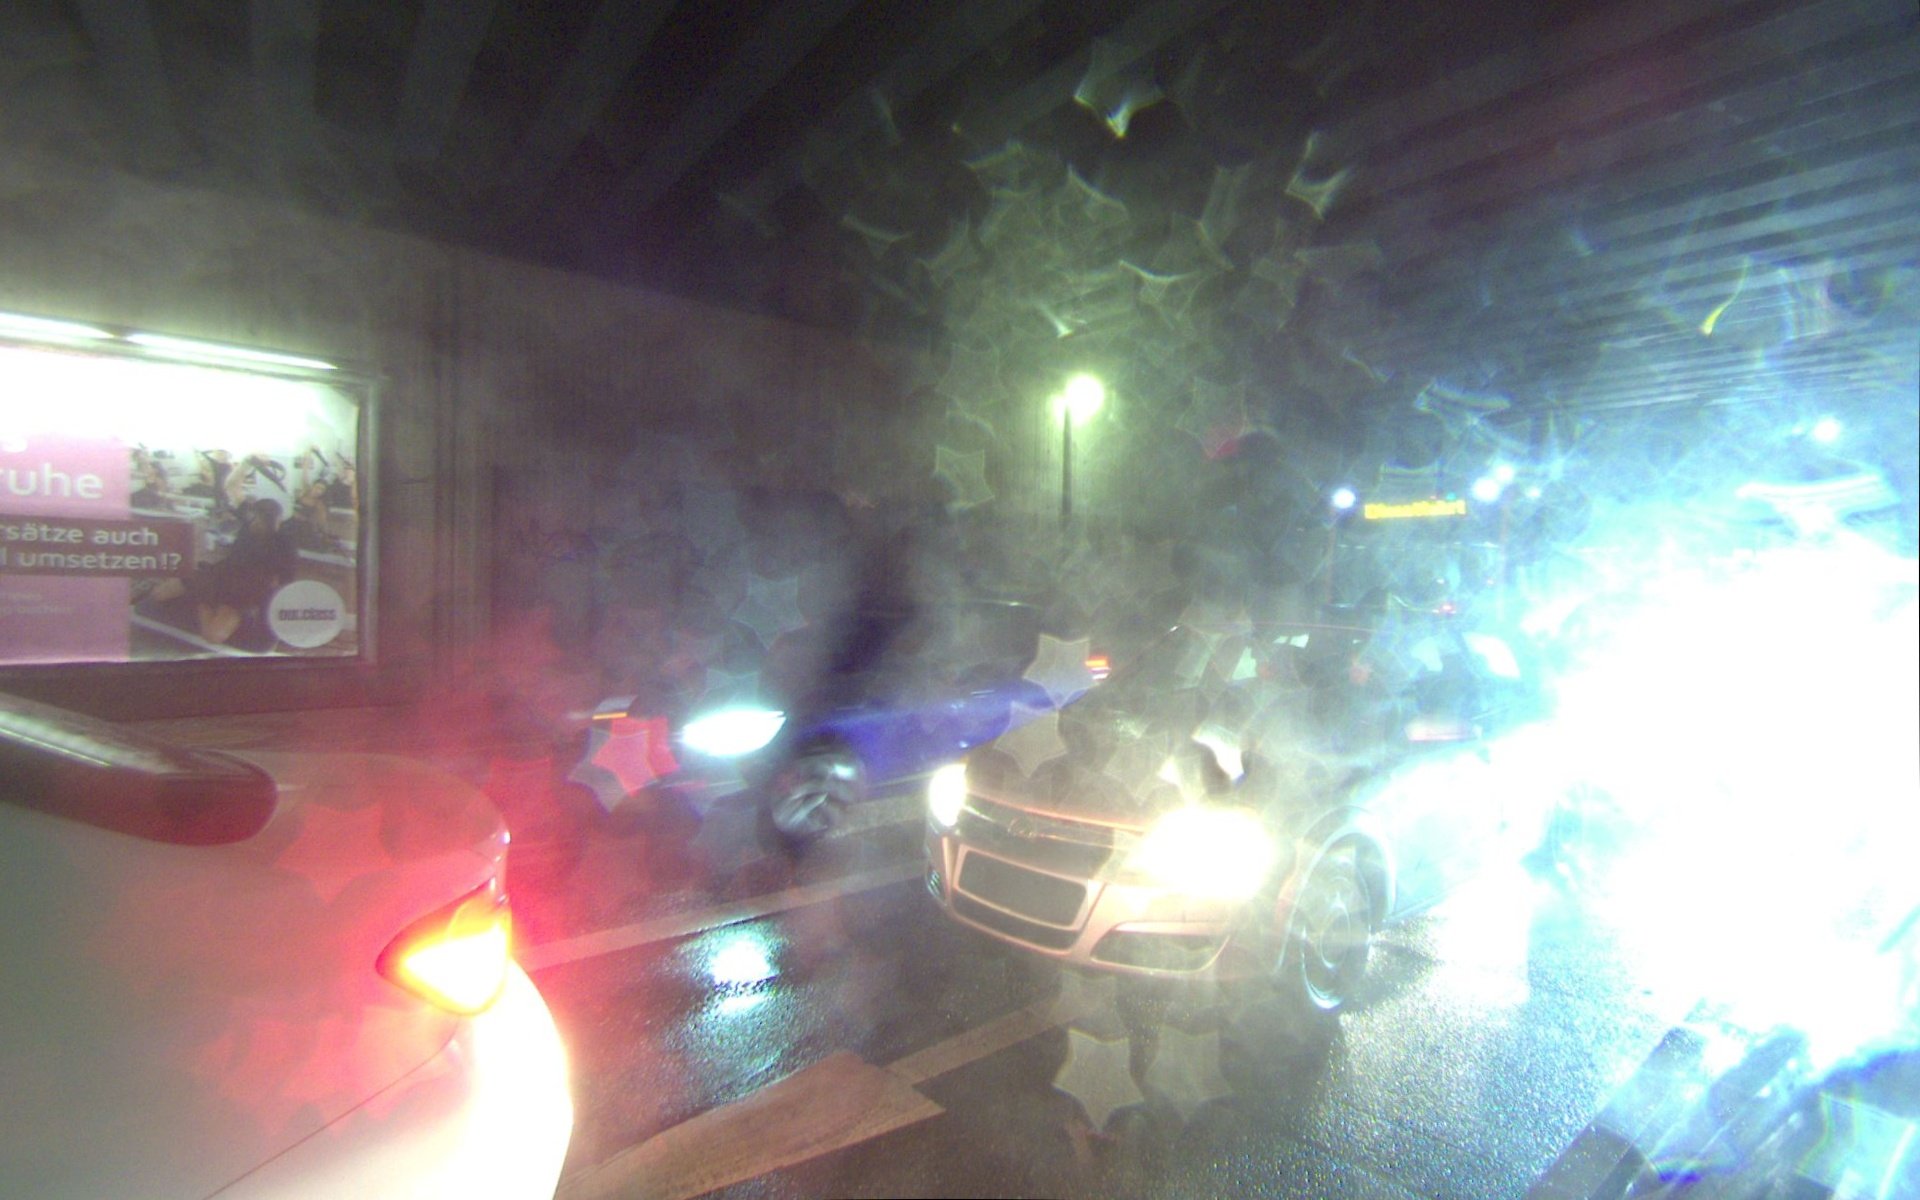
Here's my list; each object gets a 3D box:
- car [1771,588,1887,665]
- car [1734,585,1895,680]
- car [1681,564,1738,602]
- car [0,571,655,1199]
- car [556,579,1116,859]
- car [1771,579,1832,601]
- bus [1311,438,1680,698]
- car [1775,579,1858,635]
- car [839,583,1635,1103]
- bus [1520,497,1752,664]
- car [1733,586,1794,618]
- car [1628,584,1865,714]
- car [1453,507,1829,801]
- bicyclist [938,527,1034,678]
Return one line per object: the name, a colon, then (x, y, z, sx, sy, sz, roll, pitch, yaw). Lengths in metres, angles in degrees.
car: (18.741, 0.499, 21.774, 1.678, 1.490, 3.937, 0, 0, 44)
car: (15.370, 0.497, 18.144, 3.930, 1.522, 1.628, -1, 0, -41)
car: (31.954, -0.697, 43.103, 1.844, 1.503, 4.566, 2, 1, 38)
car: (-2.683, 0.688, 0.967, 4.273, 1.422, 1.719, -1, 0, -41)
car: (-0.687, 0.587, 7.200, 1.750, 1.449, 3.700, 1, 1, 44)
car: (63.333, -0.775, 76.250, 1.970, 1.626, 3.983, 0, 0, 14)
bus: (9.295, -0.388, 16.717, 2.770, 3.163, 9.604, 0, 0, 45)
car: (26.370, 0.181, 31.132, 1.738, 1.610, 3.937, 0, 0, 43)
car: (1.564, 0.653, 4.818, 3.931, 1.384, 1.791, -2, 2, -41)
bus: (16.034, -0.364, 23.578, 2.770, 3.163, 9.604, 0, 0, 45)
car: (39.019, 0.077, 49.203, 1.868, 1.490, 3.954, 0, 0, 32)
car: (10.774, 0.551, 13.794, 3.701, 1.531, 1.867, -1, 0, -41)
car: (6.508, 0.361, 9.472, 4.274, 2.115, 1.996, -1, 0, -43)
bicyclist: (0.319, 0.025, 12.550, 0.885, 1.784, 0.798, 0, 0, -41)
